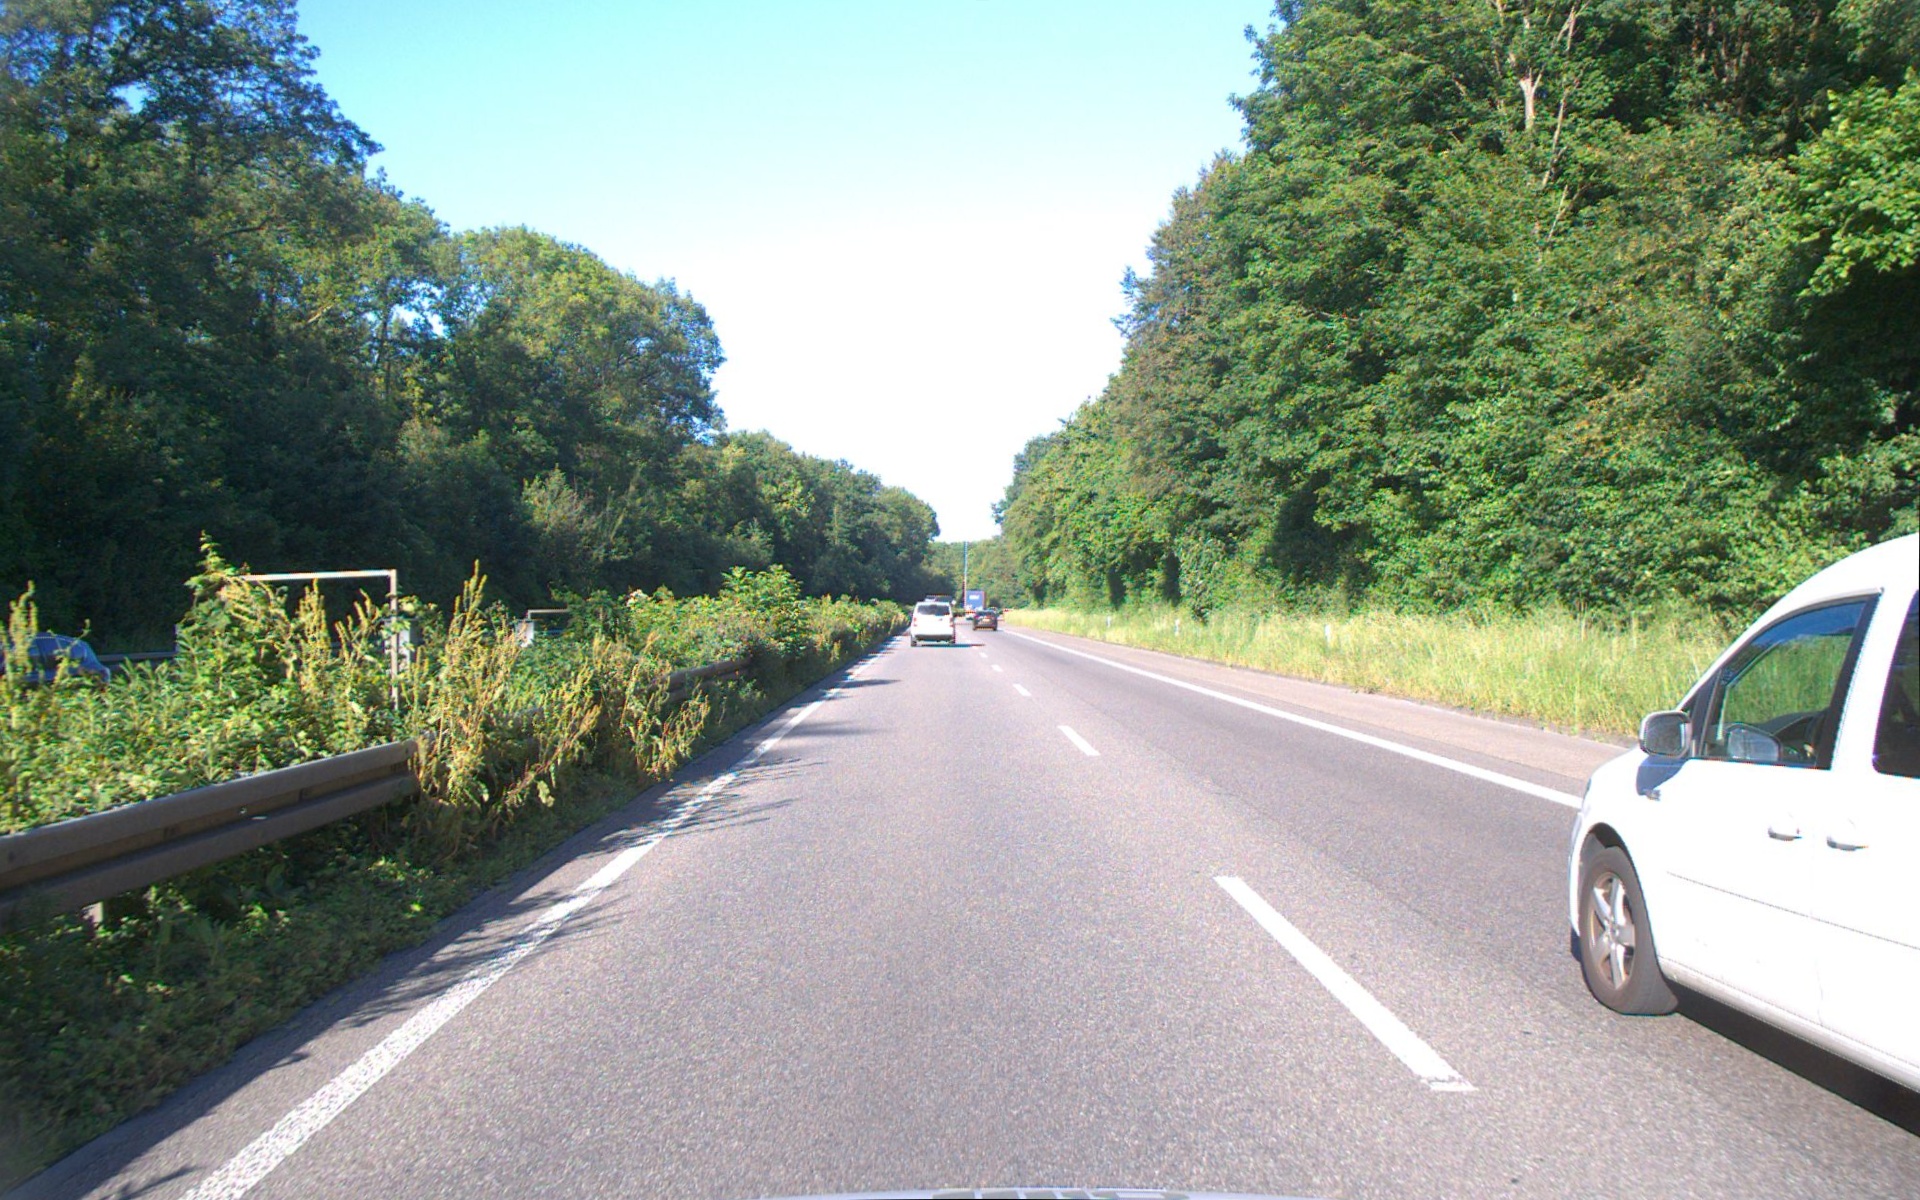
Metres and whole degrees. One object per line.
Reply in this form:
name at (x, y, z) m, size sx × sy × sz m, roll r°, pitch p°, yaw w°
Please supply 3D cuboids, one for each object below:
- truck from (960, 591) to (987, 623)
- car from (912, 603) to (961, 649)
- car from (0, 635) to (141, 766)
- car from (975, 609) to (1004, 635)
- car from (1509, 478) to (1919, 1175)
truck at (1.894, 1.037, 233.116) m, size 3.657 × 4.420 × 9.304 m, roll 1°, pitch -1°, yaw 0°
car at (-0.982, 1.056, 67.938) m, size 1.912 × 1.813 × 4.586 m, roll 1°, pitch -1°, yaw -1°
car at (-12.014, 1.184, 20.059) m, size 1.953 × 1.448 × 4.508 m, roll 1°, pitch -1°, yaw -1°
car at (2.117, 1.605, 120.519) m, size 1.912 × 1.813 × 4.586 m, roll 1°, pitch -1°, yaw -1°
car at (3.410, 0.617, 5.182) m, size 1.762 × 1.845 × 4.586 m, roll 1°, pitch -1°, yaw -1°
